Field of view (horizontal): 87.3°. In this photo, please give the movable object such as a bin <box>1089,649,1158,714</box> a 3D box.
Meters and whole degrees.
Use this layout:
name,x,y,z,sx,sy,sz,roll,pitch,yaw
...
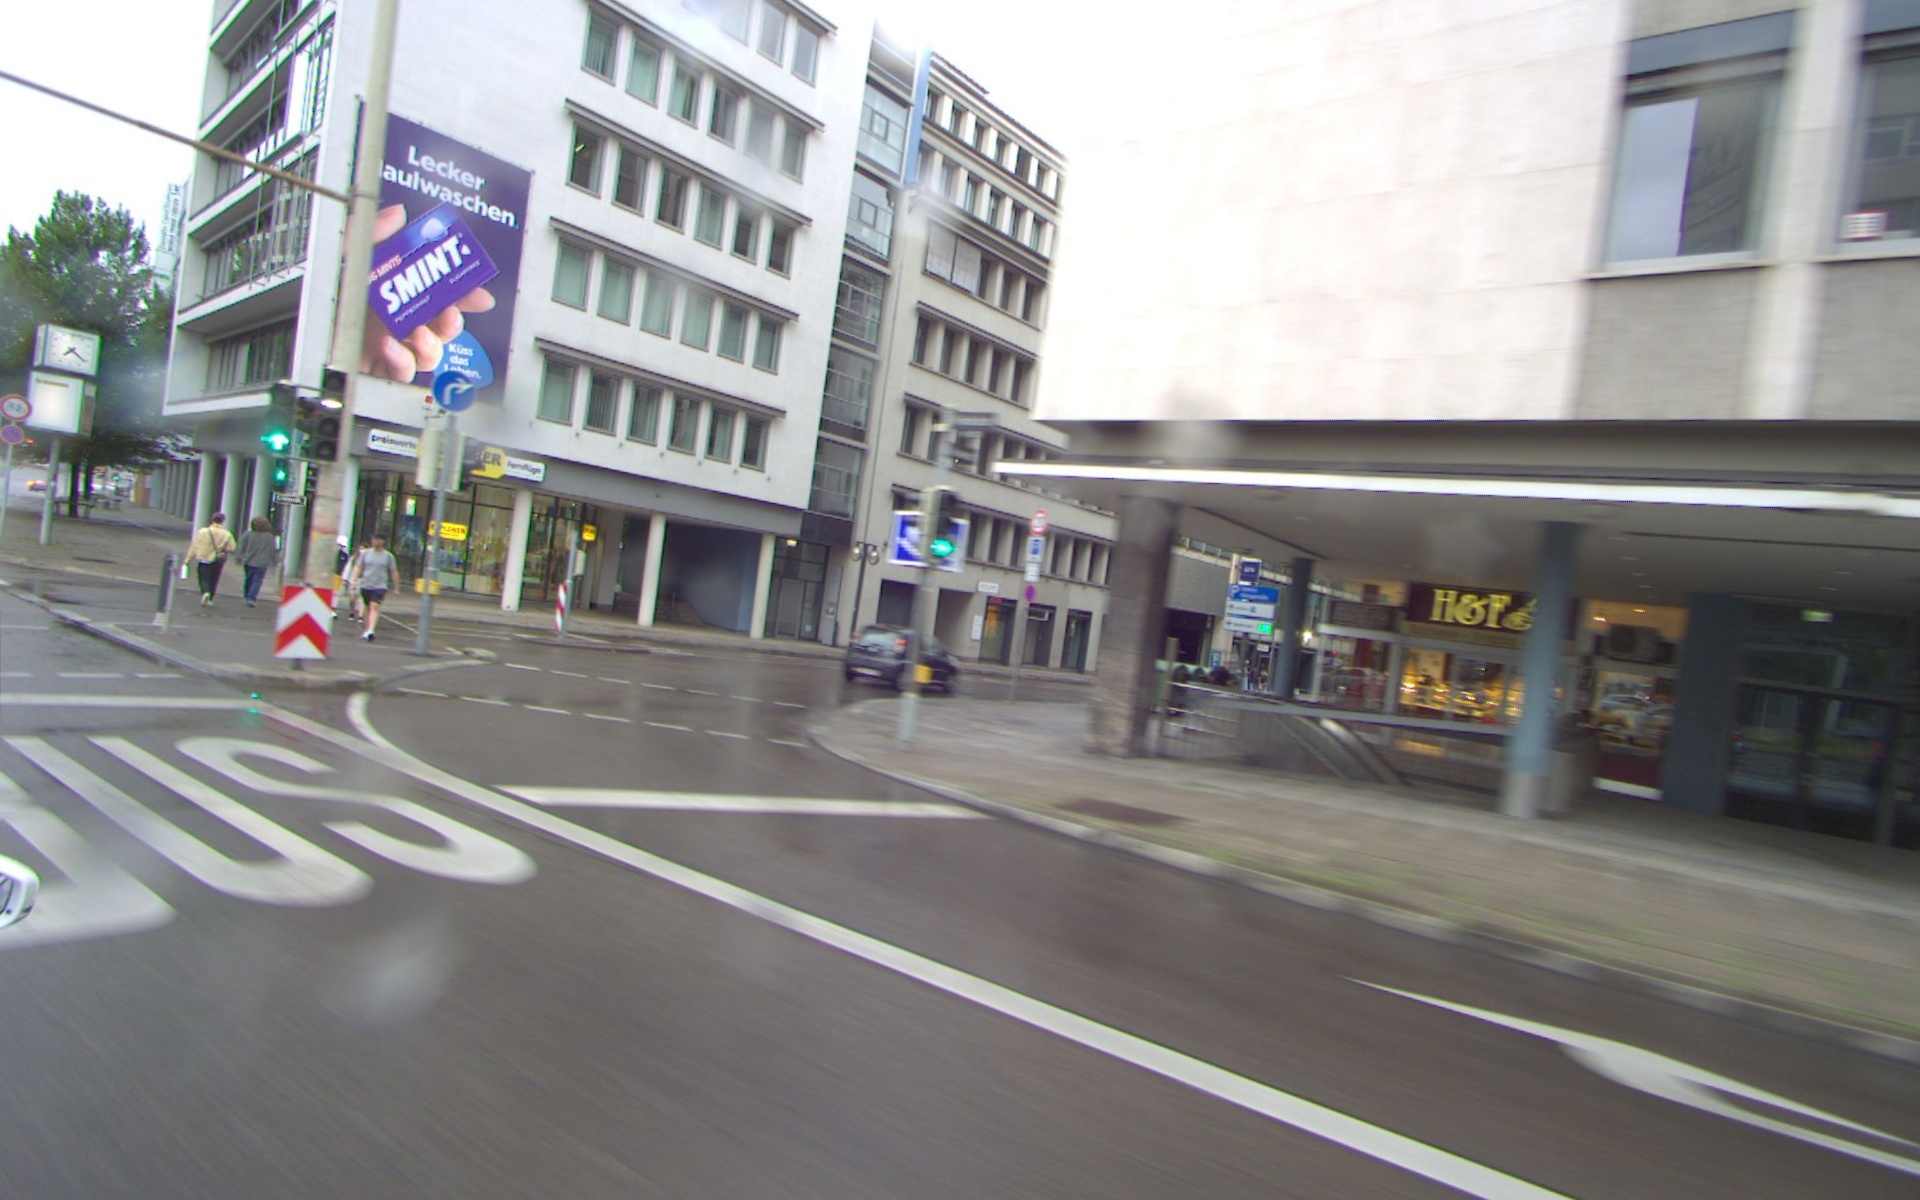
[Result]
name,x,y,z,sx,sy,sz,roll,pitch,yaw
movable object such as a bin,4.182,2.094,25.788,1.264,1.447,0.964,8,0,43

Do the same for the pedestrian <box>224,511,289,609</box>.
name,x,y,z,sx,sy,sz,roll,pitch,yaw
pedestrian,-14.077,-0.799,20.128,0.805,1.820,0.747,8,1,42

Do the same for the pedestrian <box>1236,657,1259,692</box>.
name,x,y,z,sx,sy,sz,roll,pitch,yaw
pedestrian,16.868,4.349,58.968,0.808,1.895,0.851,7,-1,42

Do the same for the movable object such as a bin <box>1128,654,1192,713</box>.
name,x,y,z,sx,sy,sz,roll,pitch,yaw
movable object such as a bin,5.504,2.295,27.688,1.182,1.399,1.098,8,0,43

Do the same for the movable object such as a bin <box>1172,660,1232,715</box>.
name,x,y,z,sx,sy,sz,roll,pitch,yaw
movable object such as a bin,7.077,2.562,29.417,1.182,1.399,1.098,8,0,43

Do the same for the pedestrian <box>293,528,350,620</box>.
name,x,y,z,sx,sy,sz,roll,pitch,yaw
pedestrian,-12.319,-0.501,19.427,0.662,1.675,0.649,8,-1,-25

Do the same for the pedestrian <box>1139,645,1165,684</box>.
name,x,y,z,sx,sy,sz,roll,pitch,yaw
pedestrian,9.962,3.358,52.221,0.808,1.895,0.851,7,-1,42

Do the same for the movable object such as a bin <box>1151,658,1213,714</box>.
name,x,y,z,sx,sy,sz,roll,pitch,yaw
movable object such as a bin,6.302,2.445,28.579,1.182,1.399,1.098,8,0,43

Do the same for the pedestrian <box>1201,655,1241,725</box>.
name,x,y,z,sx,sy,sz,roll,pitch,yaw
pedestrian,6.917,2.385,26.659,0.587,1.752,0.770,7,-1,36

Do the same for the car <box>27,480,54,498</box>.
name,x,y,z,sx,sy,sz,roll,pitch,yaw
car,-99.973,-12.073,109.414,1.686,1.503,3.960,8,-3,-38

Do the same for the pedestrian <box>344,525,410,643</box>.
name,x,y,z,sx,sy,sz,roll,pitch,yaw
pedestrian,-9.584,-0.265,16.564,0.662,1.815,0.769,8,-1,-25

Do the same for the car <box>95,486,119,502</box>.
name,x,y,z,sx,sy,sz,roll,pitch,yaw
car,-126.189,-15.672,148.792,3.946,2.037,1.991,5,-3,42

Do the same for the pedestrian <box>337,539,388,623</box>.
name,x,y,z,sx,sy,sz,roll,pitch,yaw
pedestrian,-11.784,-0.368,19.853,0.618,1.561,0.649,8,-1,-25

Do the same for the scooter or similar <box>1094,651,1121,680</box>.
name,x,y,z,sx,sy,sz,roll,pitch,yaw
scooter or similar,7.464,3.300,50.956,1.175,1.304,0.243,8,0,-8

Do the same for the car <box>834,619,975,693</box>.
name,x,y,z,sx,sy,sz,roll,pitch,yaw
car,-1.241,1.413,24.332,1.548,1.445,4.000,6,-2,26

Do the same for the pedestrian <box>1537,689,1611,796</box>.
name,x,y,z,sx,sy,sz,roll,pitch,yaw
pedestrian,11.526,2.657,18.916,0.697,1.825,0.801,8,-1,3

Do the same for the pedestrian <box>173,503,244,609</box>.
name,x,y,z,sx,sy,sz,roll,pitch,yaw
pedestrian,-13.893,-0.813,18.591,0.805,1.820,0.747,8,1,42
